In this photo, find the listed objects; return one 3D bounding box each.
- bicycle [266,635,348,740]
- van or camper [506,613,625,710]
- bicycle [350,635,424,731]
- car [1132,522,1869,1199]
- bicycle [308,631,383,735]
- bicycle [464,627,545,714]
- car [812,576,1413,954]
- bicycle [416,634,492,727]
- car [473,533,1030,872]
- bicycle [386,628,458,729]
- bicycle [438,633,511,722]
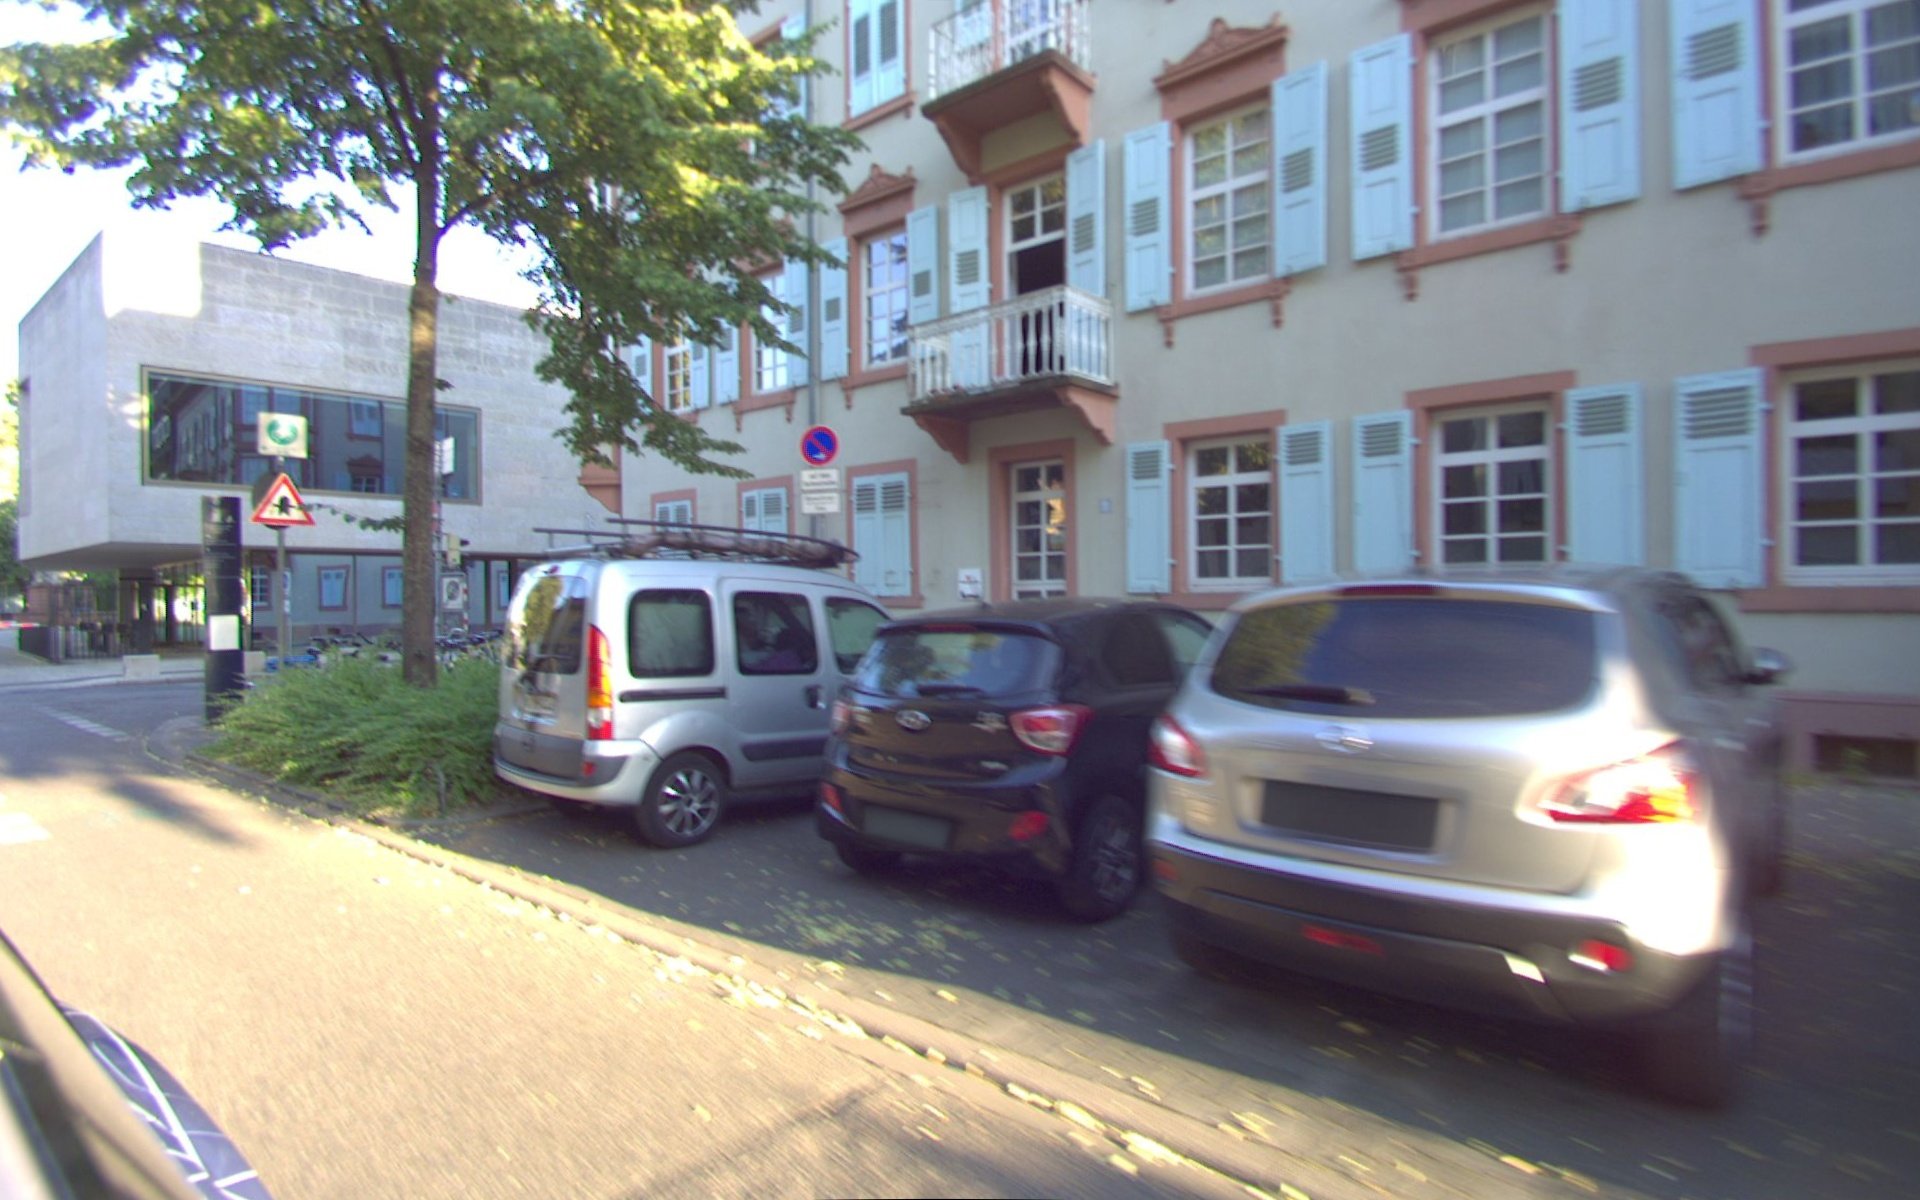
[{"bbox_3d":[-7.701,0.991,11.905,1.713,1.116,0.391,0,1,44],"label":"bicycle"},{"bbox_3d":[-5.685,0.838,14.538,0.930,1.269,1.846,-2,1,-44],"label":"van or camper"},{"bbox_3d":[-7.110,0.990,12.520,1.597,1.090,0.315,-1,1,44],"label":"bicycle"},{"bbox_3d":[2.510,0.594,4.172,1.742,1.597,3.783,0,1,43],"label":"car"},{"bbox_3d":[-7.386,0.959,12.135,1.597,1.149,0.327,-1,1,44],"label":"bicycle"},{"bbox_3d":[-6.189,0.928,13.716,1.597,1.090,0.391,-1,1,44],"label":"bicycle"},{"bbox_3d":[1.092,0.682,5.958,3.607,1.526,1.650,0,-1,-44],"label":"car"},{"bbox_3d":[-6.482,0.998,12.932,1.597,1.090,0.337,-1,-1,44],"label":"bicycle"},{"bbox_3d":[-1.346,0.576,7.526,1.701,1.863,3.768,-1,-1,44],"label":"car"},{"bbox_3d":[-6.815,0.957,12.780,1.612,1.157,0.308,0,0,44],"label":"bicycle"},{"bbox_3d":[-6.472,1.002,13.461,1.597,1.090,0.318,0,0,44],"label":"bicycle"}]
